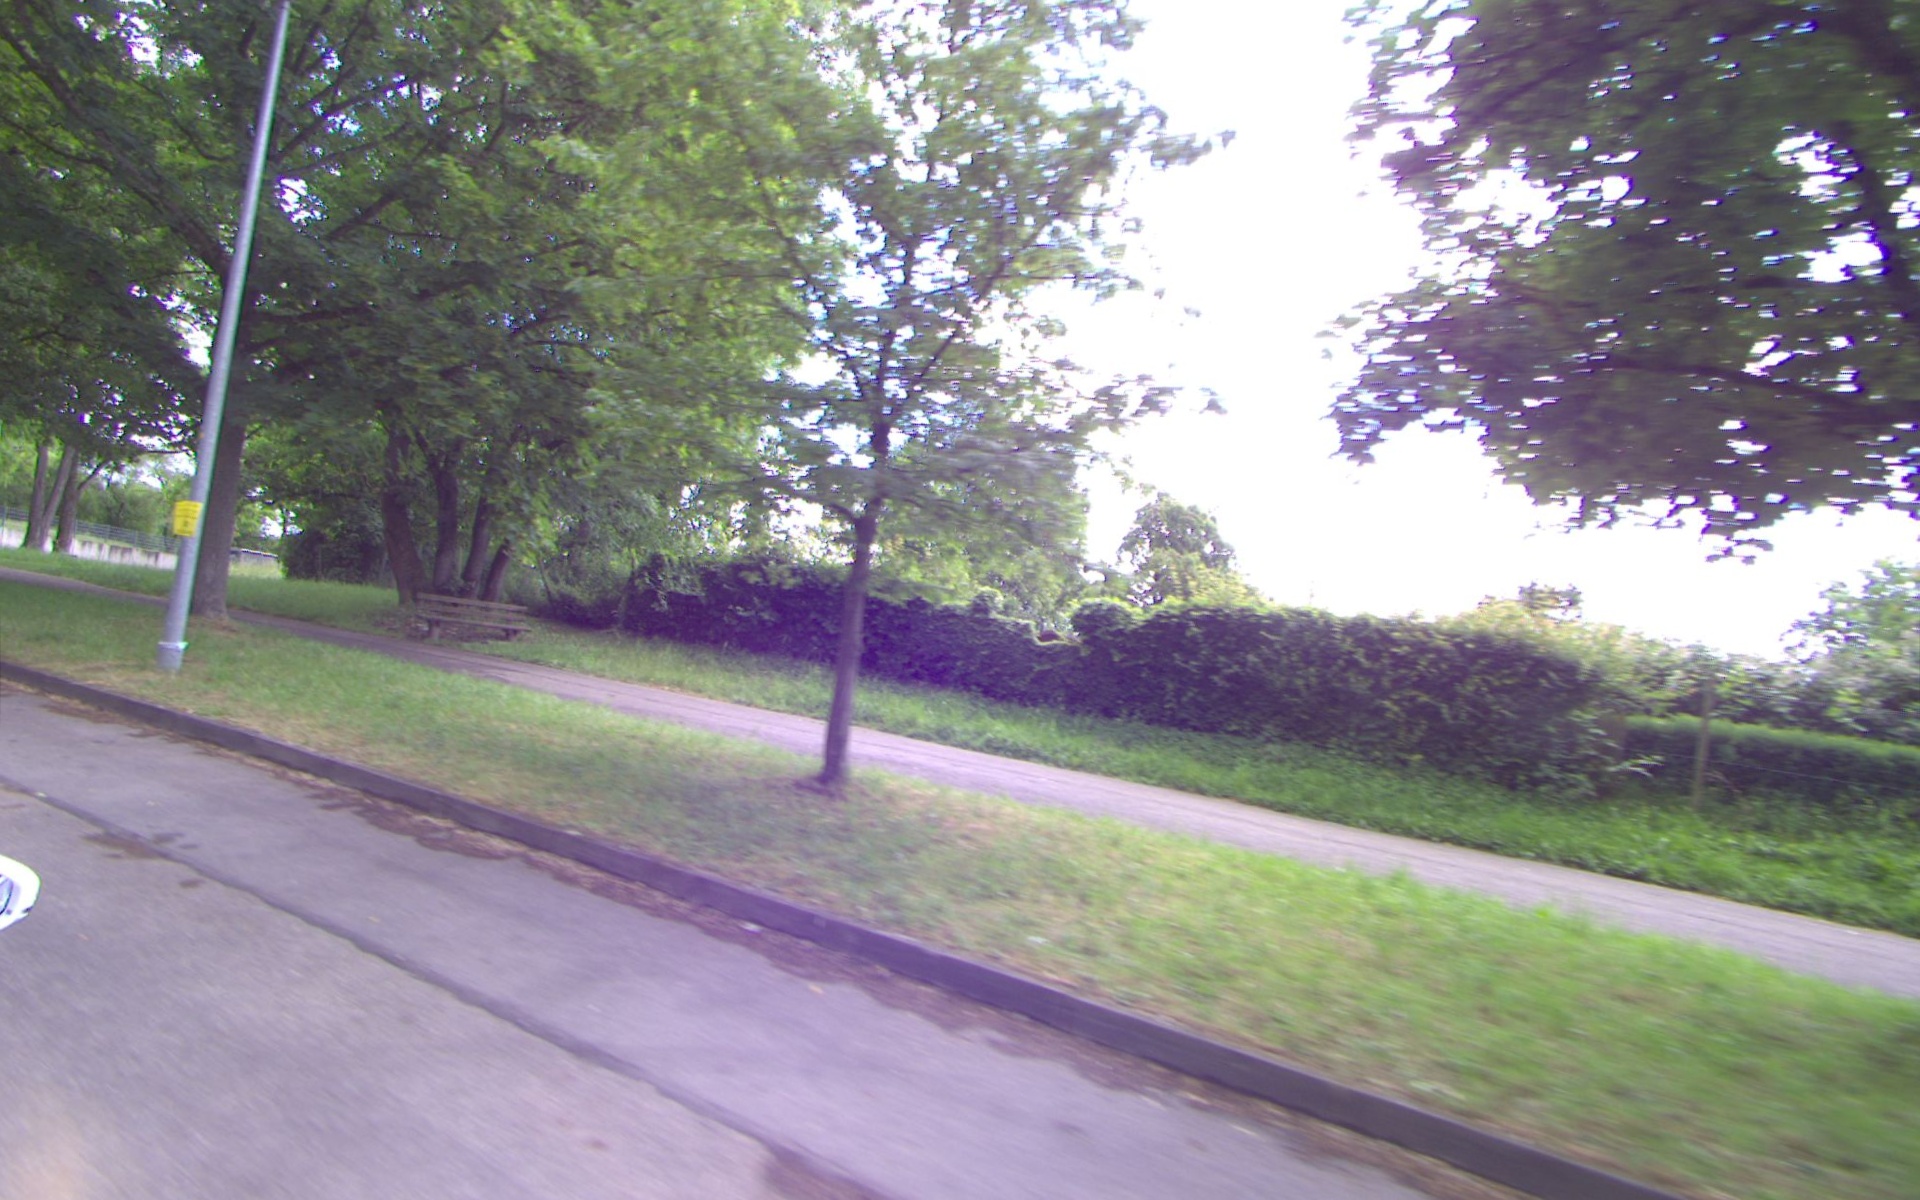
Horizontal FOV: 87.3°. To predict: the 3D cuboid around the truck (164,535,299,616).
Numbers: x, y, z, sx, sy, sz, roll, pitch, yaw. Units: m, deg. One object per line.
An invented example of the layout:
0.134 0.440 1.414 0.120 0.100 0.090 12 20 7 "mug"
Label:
-45.266 -1.330 63.009 2.653 4.039 9.568 7 -4 -11 "truck"
